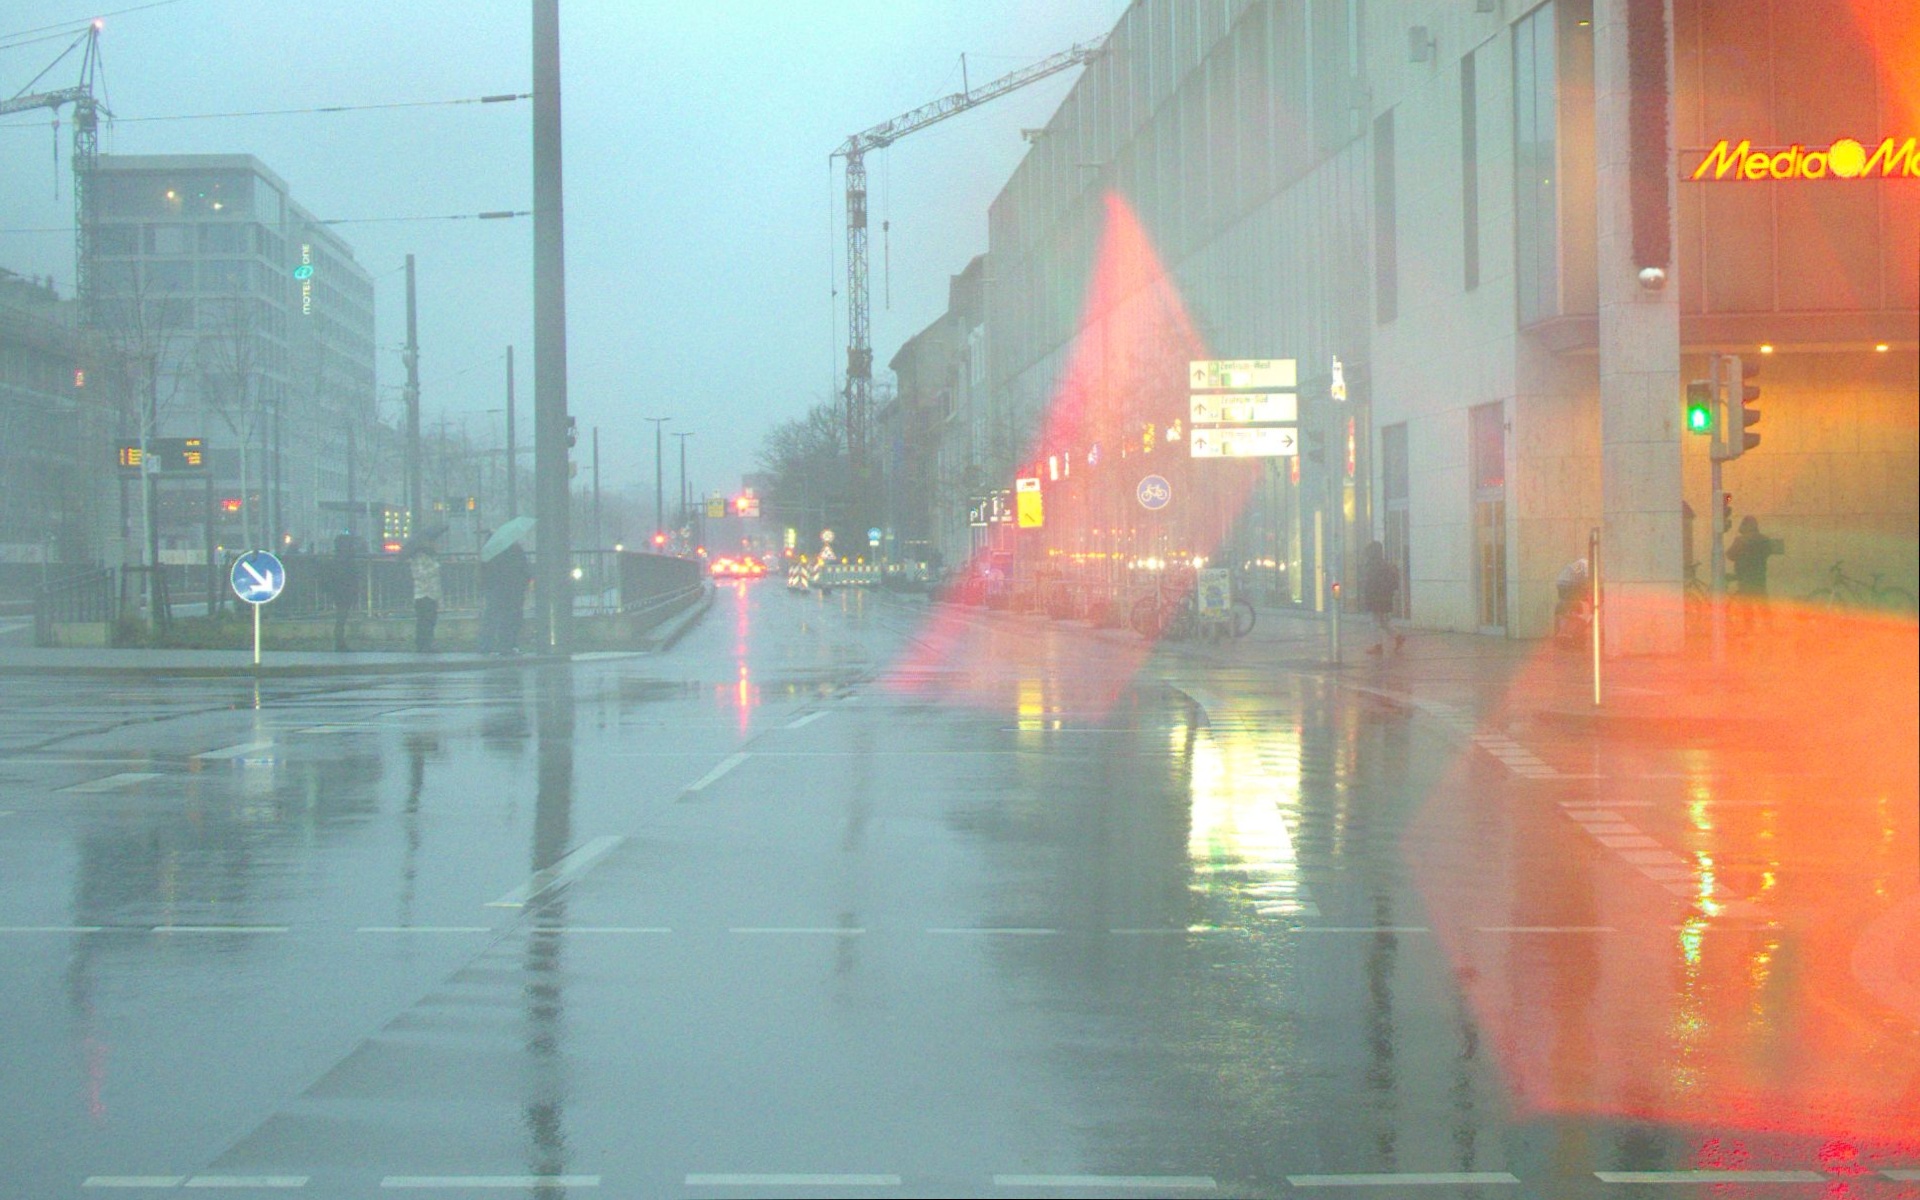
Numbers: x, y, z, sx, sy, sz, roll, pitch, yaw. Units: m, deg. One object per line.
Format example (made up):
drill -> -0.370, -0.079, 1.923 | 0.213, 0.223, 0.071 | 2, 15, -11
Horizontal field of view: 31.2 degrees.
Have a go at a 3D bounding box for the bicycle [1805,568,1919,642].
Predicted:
bicycle -> 13.346, 0.077, 50.656 | 1.646, 1.066, 0.525 | 1, 0, -4

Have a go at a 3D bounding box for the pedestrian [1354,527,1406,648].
pedestrian -> 5.948, -0.177, 48.719 | 0.636, 1.703, 0.573 | -1, 0, -1

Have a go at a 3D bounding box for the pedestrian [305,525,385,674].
pedestrian -> -8.433, -0.012, 47.125 | 0.785, 2.007, 0.726 | 1, 0, 42

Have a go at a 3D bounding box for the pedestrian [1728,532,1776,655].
pedestrian -> 11.388, -0.095, 49.452 | 0.600, 1.739, 0.524 | 1, 0, 8

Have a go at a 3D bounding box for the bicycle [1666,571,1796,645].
bicycle -> 11.328, 0.119, 50.526 | 1.767, 1.066, 0.525 | 1, 0, -8

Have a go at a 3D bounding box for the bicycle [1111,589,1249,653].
bicycle -> 3.969, 0.374, 62.186 | 2.425, 1.095, 0.712 | -1, 0, -2

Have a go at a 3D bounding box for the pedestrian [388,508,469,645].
pedestrian -> -7.179, -0.314, 46.409 | 0.821, 1.825, 0.786 | 1, 0, -31

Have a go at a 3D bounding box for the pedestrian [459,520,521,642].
pedestrian -> -6.541, -0.263, 47.817 | 0.612, 1.680, 0.577 | 1, 0, 42
